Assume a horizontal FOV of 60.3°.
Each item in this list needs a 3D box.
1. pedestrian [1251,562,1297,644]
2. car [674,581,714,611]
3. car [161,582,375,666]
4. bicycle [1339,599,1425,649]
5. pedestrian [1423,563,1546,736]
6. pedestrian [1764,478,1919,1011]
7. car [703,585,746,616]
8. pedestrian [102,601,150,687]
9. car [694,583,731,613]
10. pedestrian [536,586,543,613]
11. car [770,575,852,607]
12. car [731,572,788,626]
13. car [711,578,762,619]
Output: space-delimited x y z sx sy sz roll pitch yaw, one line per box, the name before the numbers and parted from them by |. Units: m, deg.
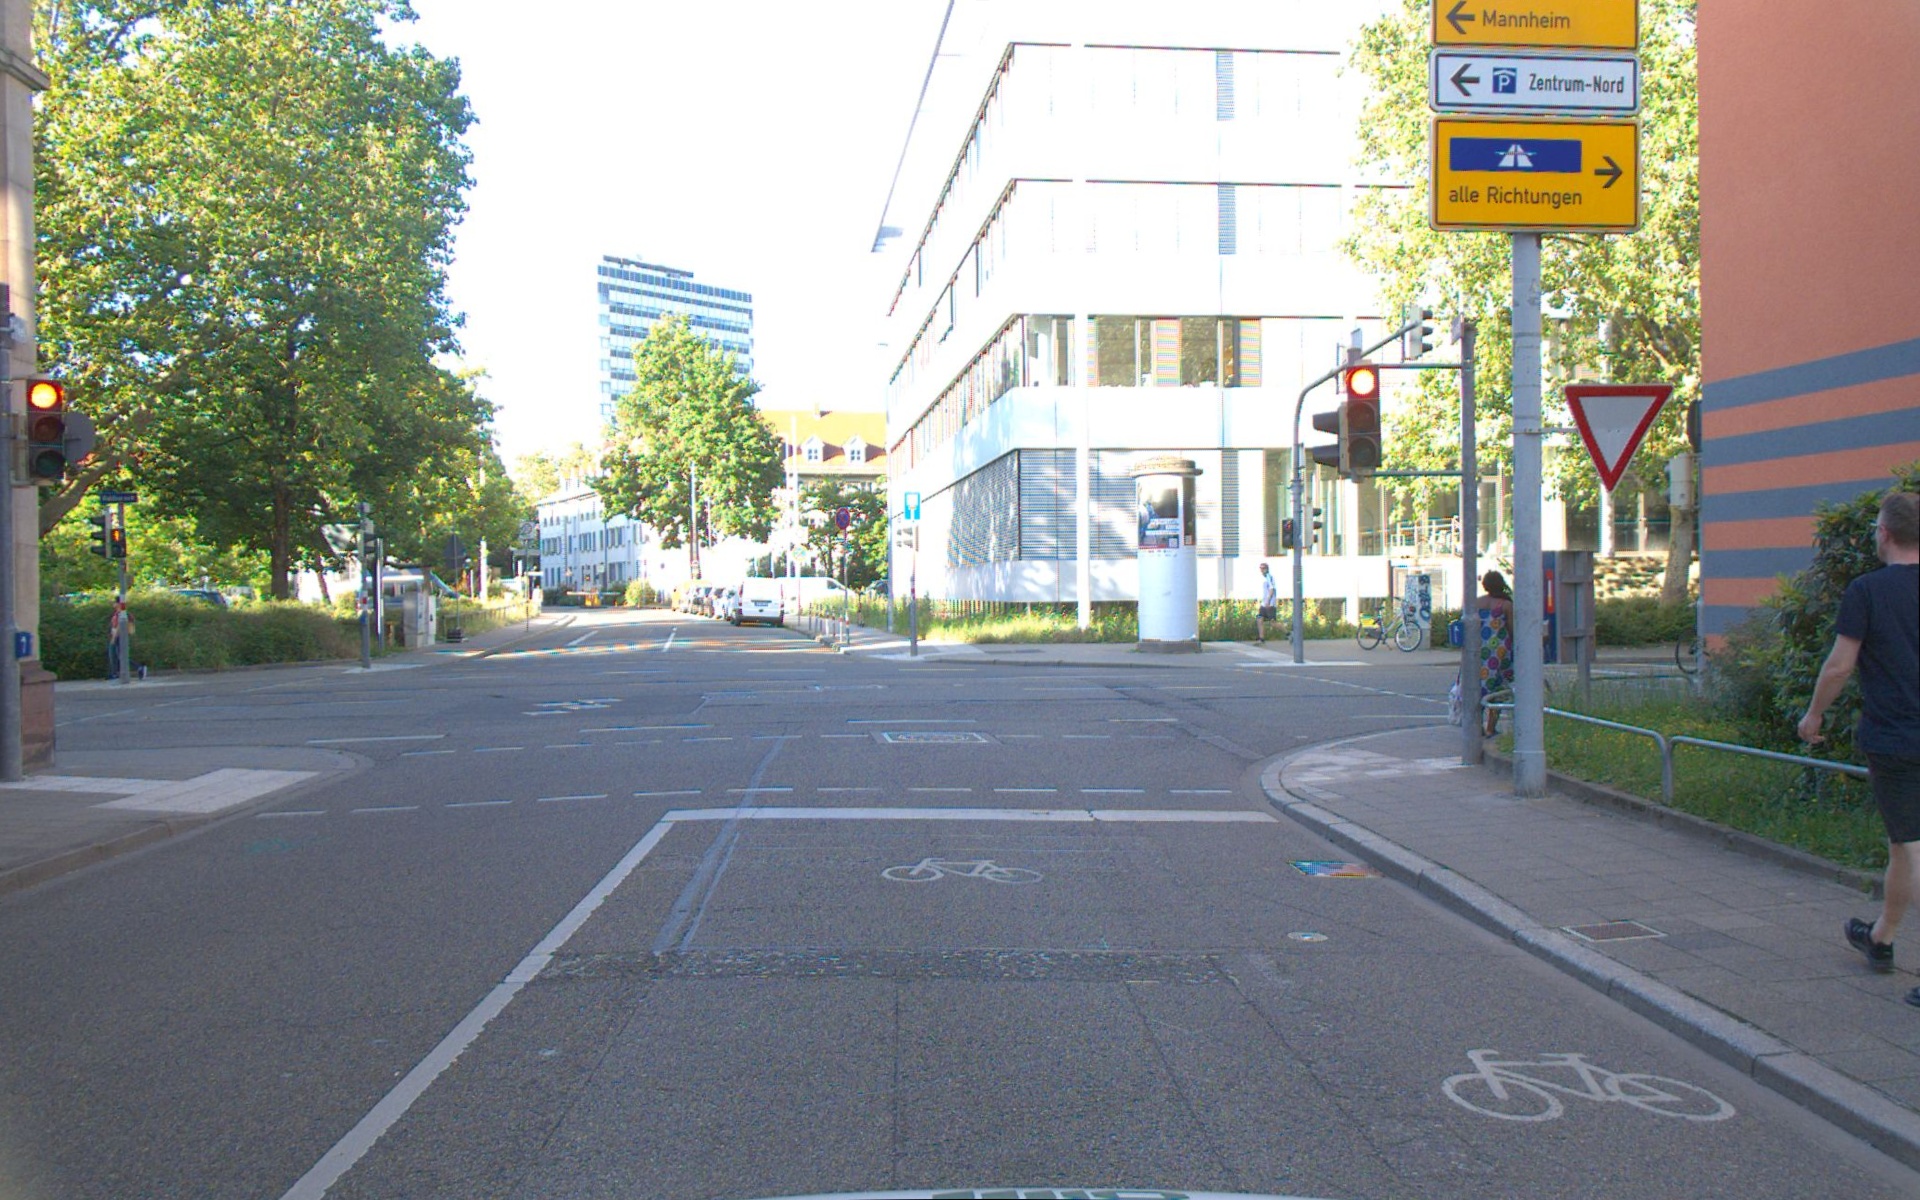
pedestrian | 7.233 0.074 38.140 1.015 1.863 0.539 -1 0 11
car | -15.375 -0.250 95.413 2.063 1.687 4.463 -1 1 -11
car | -15.763 0.525 37.891 4.146 1.808 1.901 -1 0 -9
bicycle | 9.224 0.513 36.234 0.460 1.067 1.886 -1 0 -42
pedestrian | 5.110 0.475 16.095 0.936 1.600 0.750 -4 0 28
pedestrian | 3.553 0.470 6.108 0.631 1.819 0.916 -4 0 2
car | -11.578 0.019 81.211 1.675 1.449 4.223 -1 1 -14
pedestrian | -16.093 0.831 31.908 0.707 1.627 0.609 -1 0 -38
car | -12.847 -0.113 85.628 1.674 1.490 4.226 -1 1 -11
pedestrian | -23.996 -0.027 94.419 0.373 1.561 0.444 -1 0 -13
car | -9.263 -0.541 102.633 4.804 1.905 1.990 0 -1 -17
car | -7.860 -0.045 64.508 2.029 1.997 4.229 -1 1 -9
car | -10.350 -0.071 76.389 1.913 1.826 4.224 -1 1 -13
